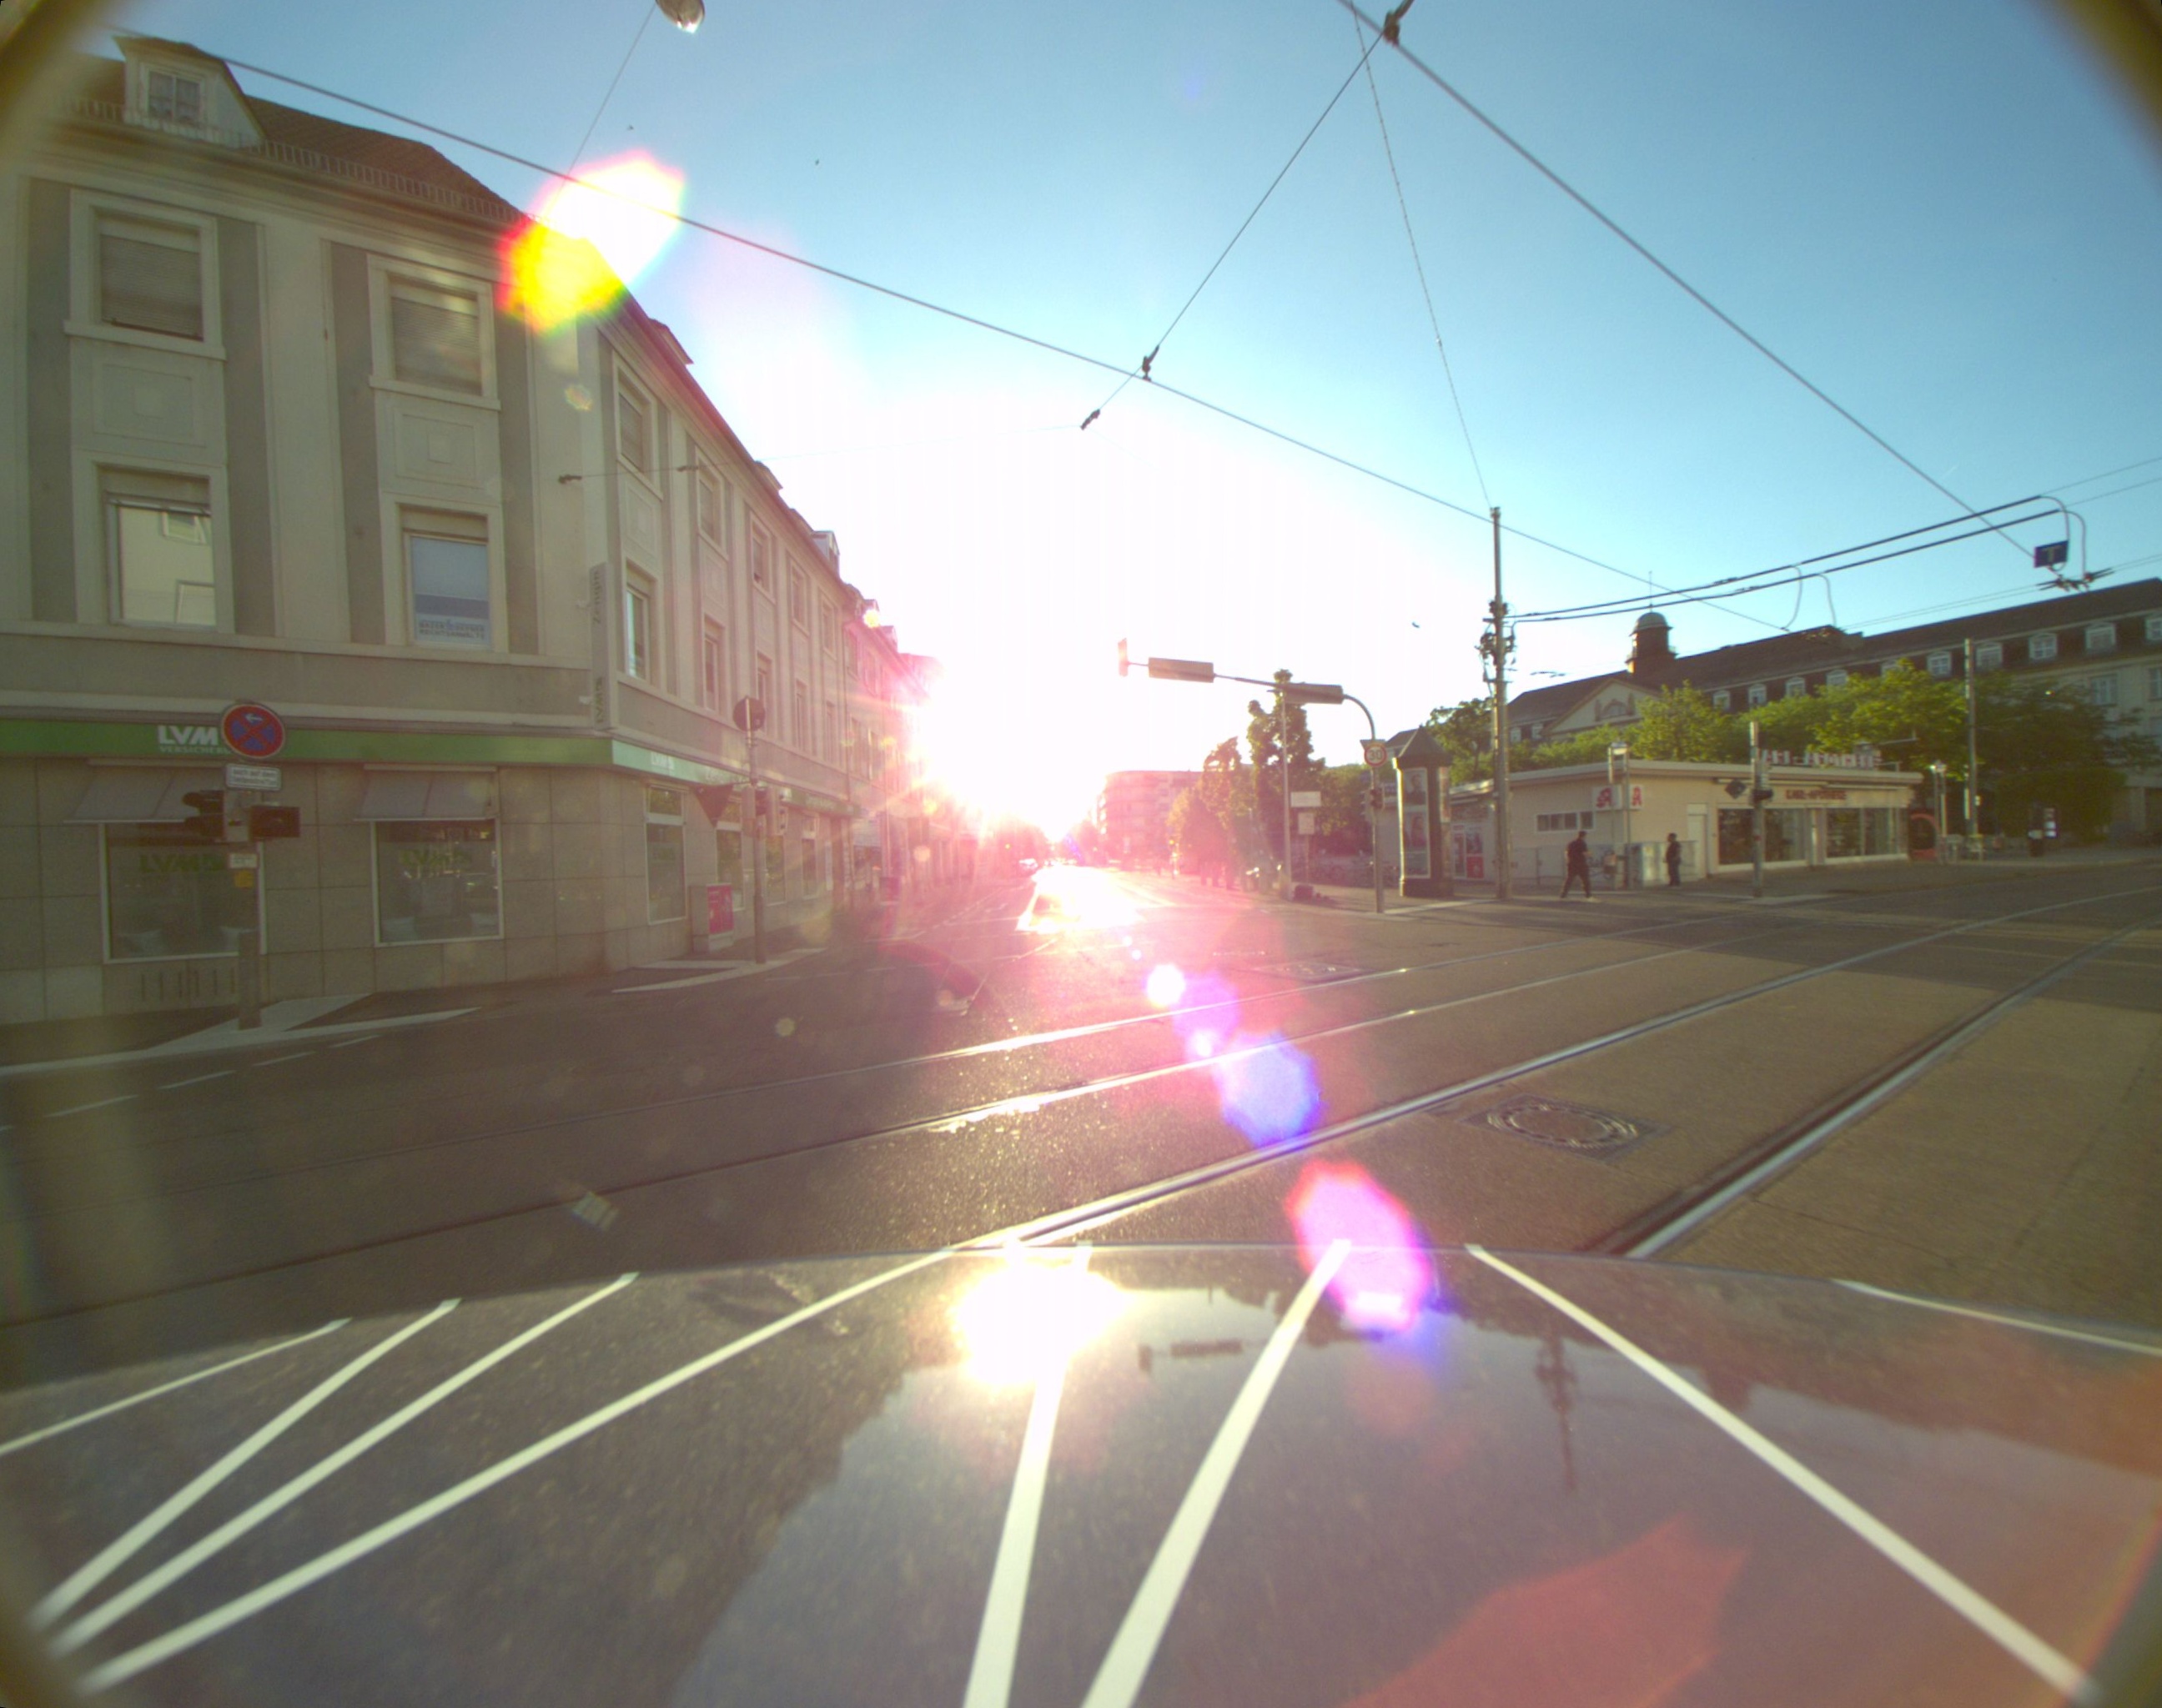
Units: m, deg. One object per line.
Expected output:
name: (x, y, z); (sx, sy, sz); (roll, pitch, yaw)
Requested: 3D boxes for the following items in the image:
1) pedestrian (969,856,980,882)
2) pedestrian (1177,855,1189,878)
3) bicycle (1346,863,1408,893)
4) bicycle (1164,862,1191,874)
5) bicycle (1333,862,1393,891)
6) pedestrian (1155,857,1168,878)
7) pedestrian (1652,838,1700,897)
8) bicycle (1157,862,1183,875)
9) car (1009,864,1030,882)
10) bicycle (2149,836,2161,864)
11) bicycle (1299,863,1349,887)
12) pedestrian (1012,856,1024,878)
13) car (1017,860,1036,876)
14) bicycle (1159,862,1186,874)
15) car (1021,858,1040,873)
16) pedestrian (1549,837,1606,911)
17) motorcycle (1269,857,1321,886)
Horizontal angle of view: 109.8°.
pedestrian: (-7.470, 1.055, 53.211); (0.673, 1.774, 0.720); (-1, 2, -18)
pedestrian: (7.762, 0.935, 58.026); (0.778, 1.667, 0.907); (-3, 2, 5)
bicycle: (11.956, 0.954, 30.710); (2.197, 1.081, 0.779); (-2, 1, -8)
bicycle: (8.916, 1.334, 70.346); (2.399, 0.953, 0.672); (-3, 2, 5)
bicycle: (11.799, 0.944, 31.825); (2.222, 1.081, 0.779); (-3, 1, -8)
pedestrian: (6.527, 1.073, 61.257); (0.905, 1.667, 0.780); (-3, 2, 9)
pedestrian: (17.574, 0.398, 22.457); (0.781, 1.667, 0.904); (-5, 2, -37)
bicycle: (8.510, 1.396, 73.052); (2.399, 1.065, 0.672); (-3, 2, 5)
car: (-6.209, 1.920, 77.516); (1.999, 1.538, 4.507); (-3, 1, -4)
bicycle: (59.294, -0.255, 40.753); (2.495, 1.478, 0.594); (-3, 2, 17)
bicycle: (11.702, 0.990, 36.623); (2.181, 1.081, 0.779); (-1, 2, -2)
pedestrian: (-5.112, 1.061, 61.710); (0.842, 1.736, 0.700); (-3, 2, -3)
car: (-6.364, 1.627, 89.377); (1.999, 1.538, 4.508); (-3, 1, -1)
bicycle: (8.607, 1.321, 71.396); (2.399, 0.953, 0.672); (-3, 2, 5)
car: (-6.318, 1.432, 95.222); (1.999, 1.638, 4.508); (-3, 1, -1)
pedestrian: (12.504, 0.495, 19.137); (0.908, 1.774, 0.879); (-5, 2, -37)
motorcycle: (11.185, 0.897, 39.838); (2.450, 1.358, 0.779); (-3, 0, 3)
